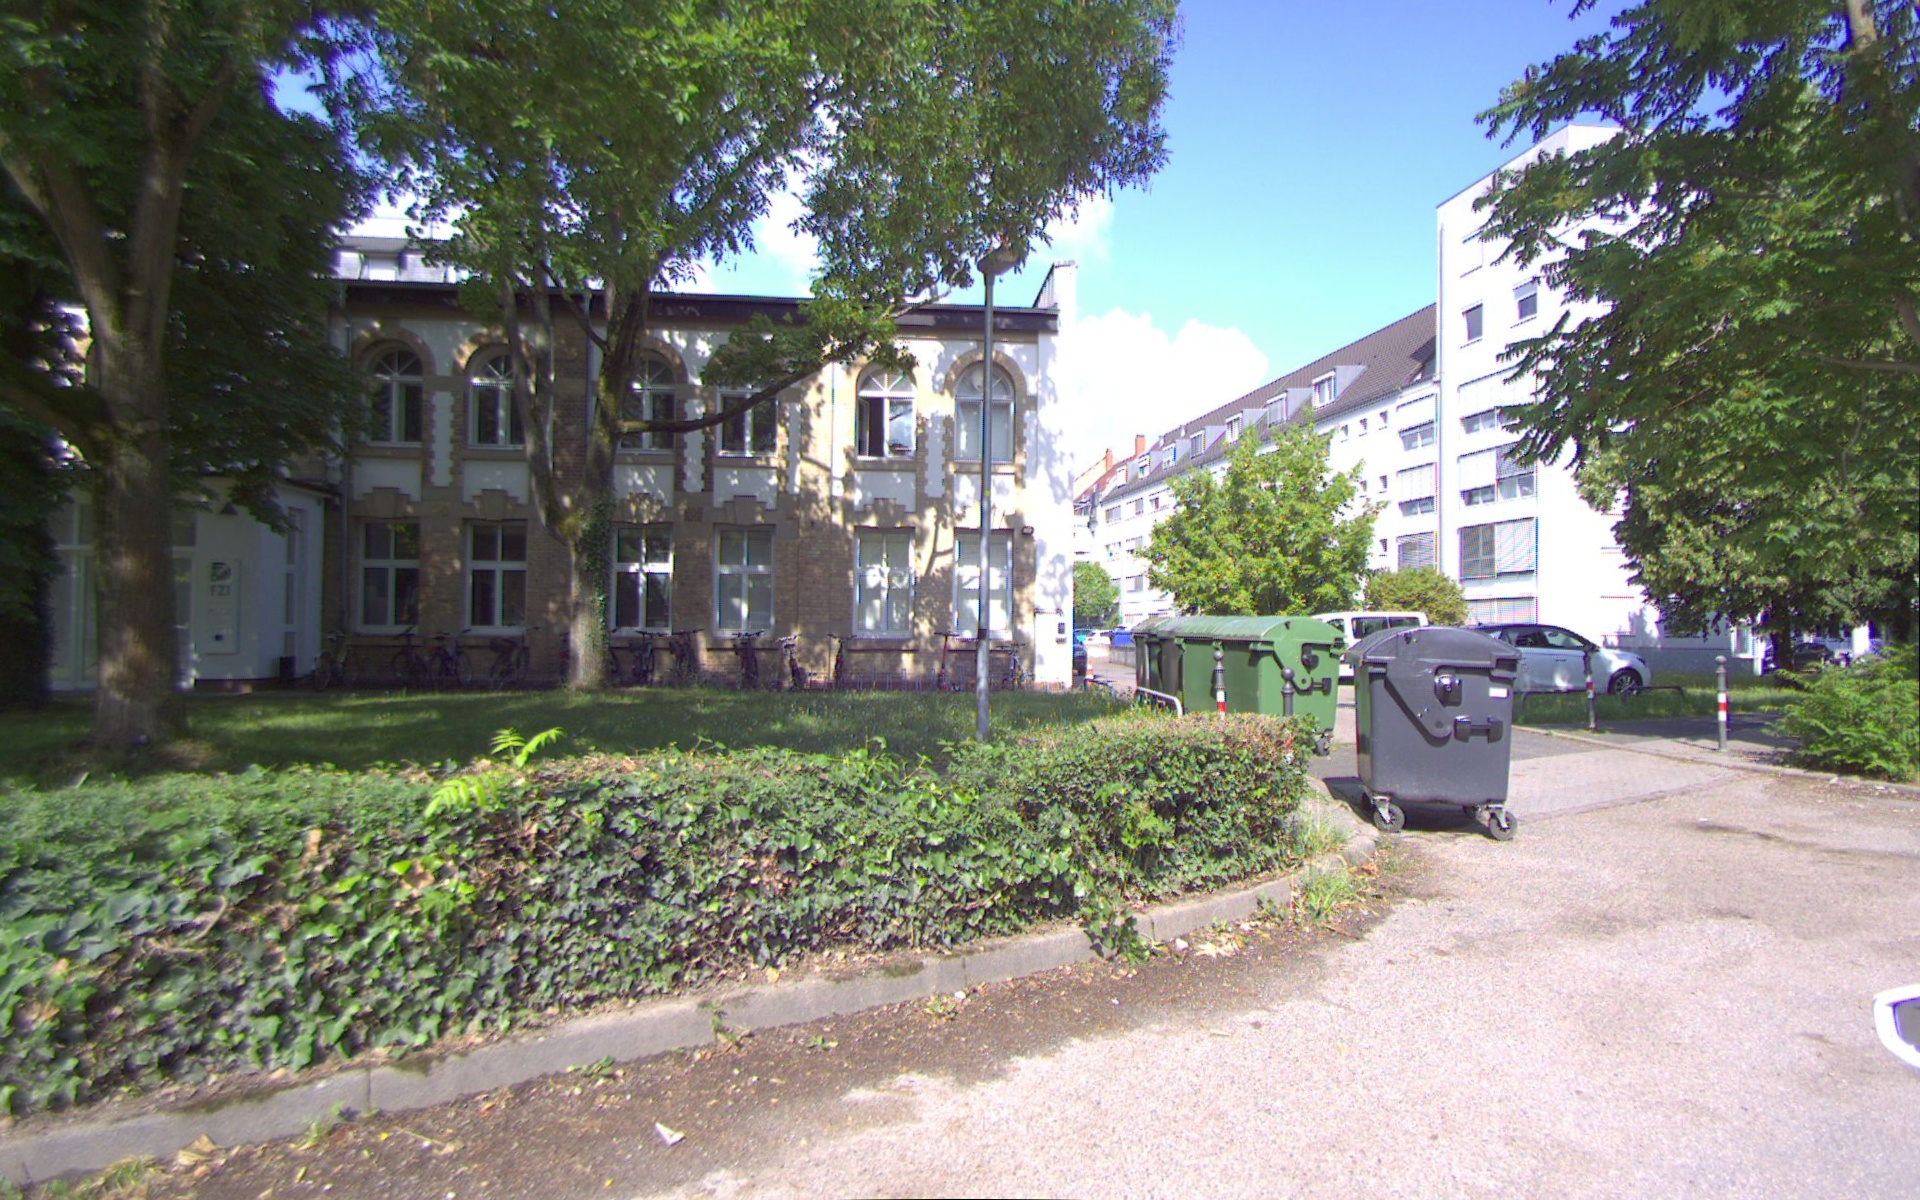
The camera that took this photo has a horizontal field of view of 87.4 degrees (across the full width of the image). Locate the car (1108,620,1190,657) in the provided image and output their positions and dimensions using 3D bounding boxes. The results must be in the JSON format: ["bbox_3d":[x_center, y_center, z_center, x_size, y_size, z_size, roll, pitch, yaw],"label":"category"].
[{"bbox_3d":[10.323,2.091,55.124,3.929,1.769,1.945,2,3,-11],"label":"car"}]

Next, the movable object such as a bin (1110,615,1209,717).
[{"bbox_3d":[3.006,0.977,15.293,0.930,1.367,1.378,4,2,-12],"label":"movable object such as a bin"}]

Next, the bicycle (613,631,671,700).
[{"bbox_3d":[-5.938,1.197,18.870,0.412,1.070,2.066,4,2,-1],"label":"bicycle"}]

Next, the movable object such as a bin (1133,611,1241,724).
[{"bbox_3d":[3.098,0.898,13.819,0.930,1.367,1.231,4,2,-12],"label":"movable object such as a bin"}]

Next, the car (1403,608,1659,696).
[{"bbox_3d":[10.635,0.952,18.879,3.843,1.439,1.757,2,1,-6],"label":"car"}]

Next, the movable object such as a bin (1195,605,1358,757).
[{"bbox_3d":[3.451,0.857,11.092,1.084,1.471,1.339,4,2,-13],"label":"movable object such as a bin"}]

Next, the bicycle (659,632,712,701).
[{"bbox_3d":[-5.136,1.218,18.873,0.412,1.070,2.066,4,2,-1],"label":"bicycle"}]

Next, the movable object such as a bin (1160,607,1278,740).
[{"bbox_3d":[3.185,0.878,12.459,0.865,1.471,1.231,4,2,-11],"label":"movable object such as a bin"}]

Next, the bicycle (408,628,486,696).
[{"bbox_3d":[-9.428,1.112,18.546,0.411,1.070,2.066,1,2,-1],"label":"bicycle"}]

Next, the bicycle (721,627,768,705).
[{"bbox_3d":[-4.060,1.213,19.047,0.412,1.138,2.066,4,5,-1],"label":"bicycle"}]

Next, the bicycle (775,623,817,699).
[{"bbox_3d":[-3.115,1.128,19.191,0.412,1.231,2.066,4,2,-1],"label":"bicycle"}]

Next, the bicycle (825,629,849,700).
[{"bbox_3d":[-2.361,1.214,19.336,0.351,1.158,1.857,4,2,-6],"label":"bicycle"}]

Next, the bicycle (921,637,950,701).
[{"bbox_3d":[-0.485,1.303,19.385,0.314,1.051,1.857,4,1,-6],"label":"bicycle"}]

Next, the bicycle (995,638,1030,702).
[{"bbox_3d":[1.019,1.344,19.703,0.314,1.051,1.857,4,1,-6],"label":"bicycle"}]

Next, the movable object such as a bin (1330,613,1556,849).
[{"bbox_3d":[3.426,0.864,7.307,1.224,1.502,1.297,1,-1,14],"label":"movable object such as a bin"}]

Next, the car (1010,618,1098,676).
[{"bbox_3d":[2.783,1.374,30.825,1.850,1.461,4.337,4,0,-5],"label":"car"}]

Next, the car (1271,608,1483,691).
[{"bbox_3d":[11.204,1.305,27.202,4.860,1.990,1.999,2,0,-4],"label":"car"}]

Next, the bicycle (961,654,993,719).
[{"bbox_3d":[0.323,1.663,19.698,0.314,1.051,1.857,4,1,-6],"label":"bicycle"}]

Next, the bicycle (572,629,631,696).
[{"bbox_3d":[-6.739,1.139,18.969,0.411,1.070,2.066,1,2,-1],"label":"bicycle"}]

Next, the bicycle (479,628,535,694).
[{"bbox_3d":[-8.310,1.093,18.475,0.314,1.051,1.857,4,1,-6],"label":"bicycle"}]
